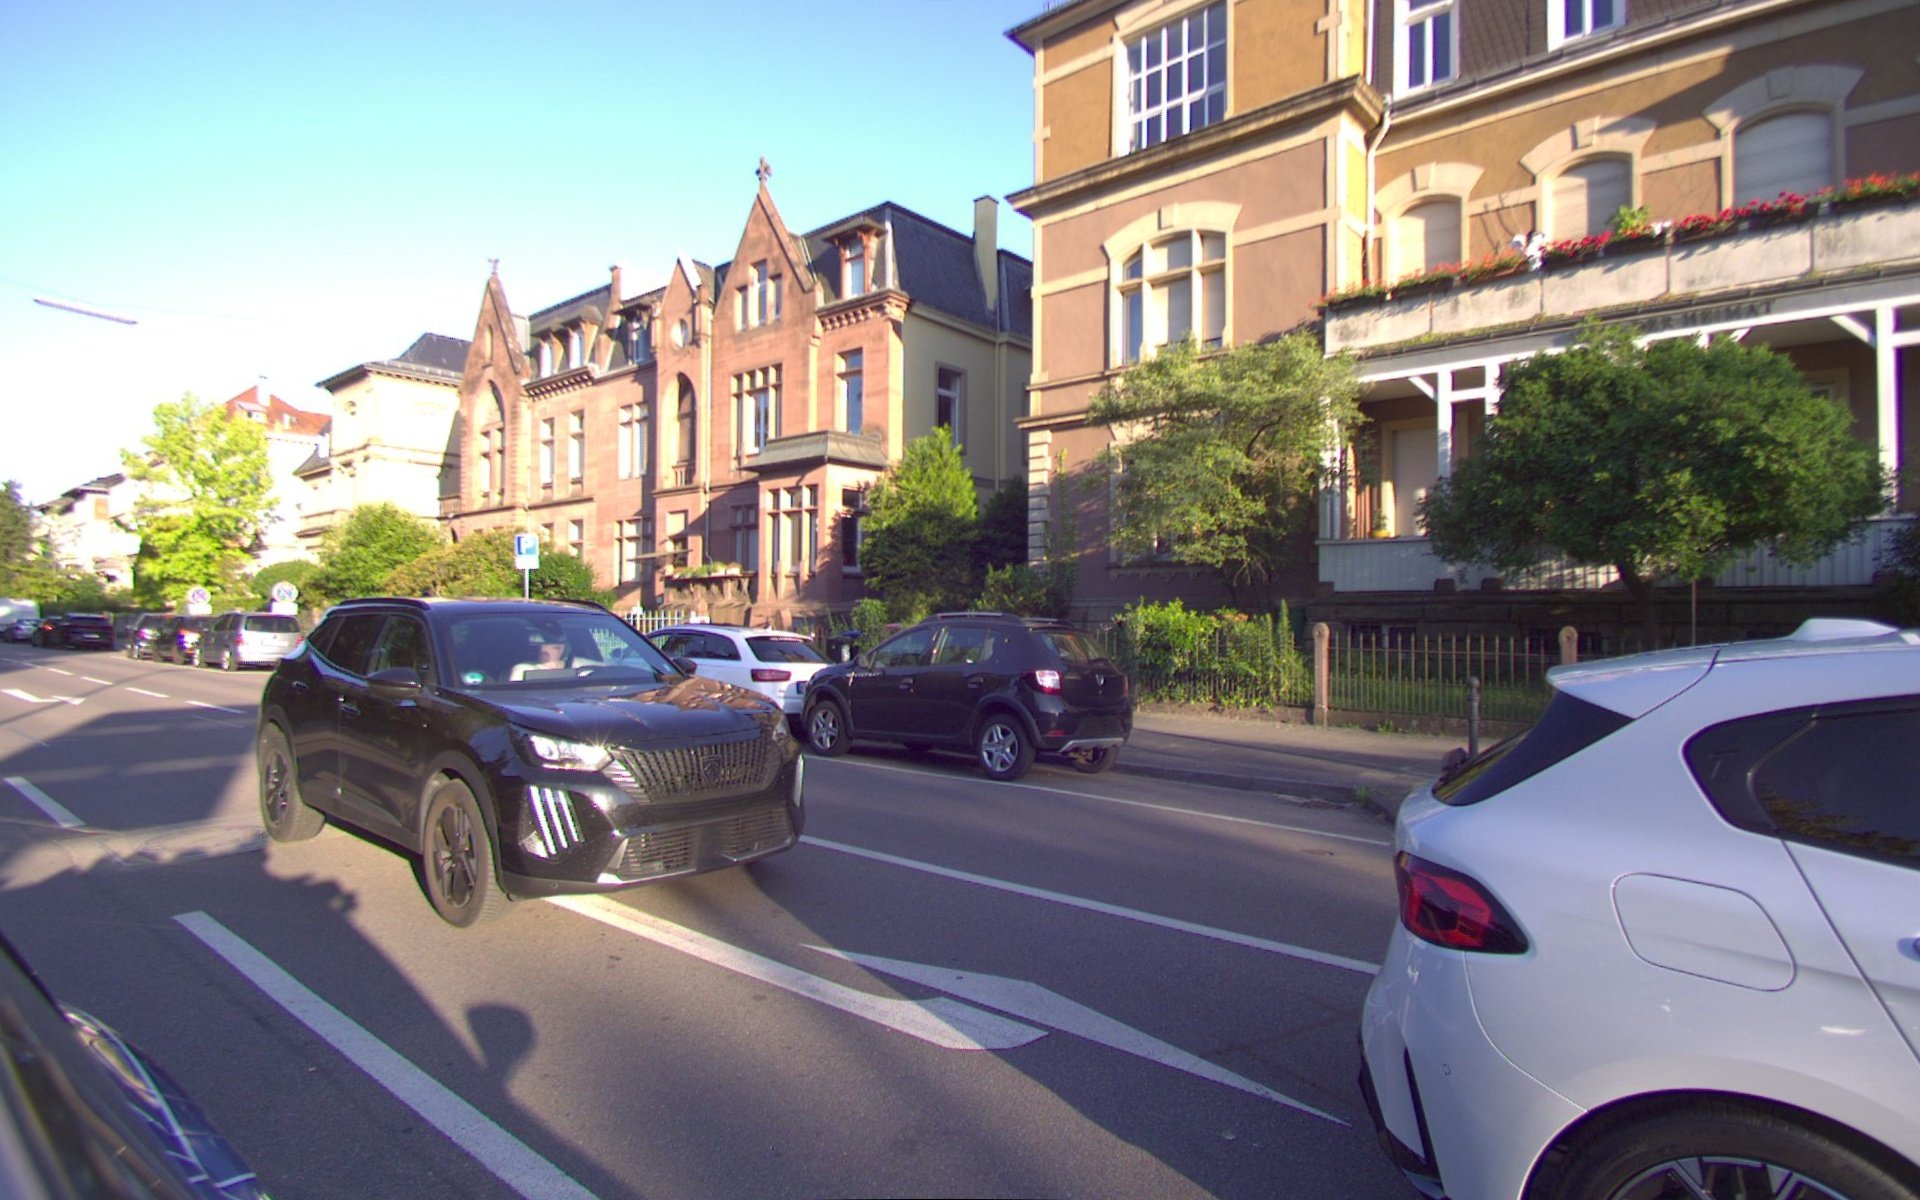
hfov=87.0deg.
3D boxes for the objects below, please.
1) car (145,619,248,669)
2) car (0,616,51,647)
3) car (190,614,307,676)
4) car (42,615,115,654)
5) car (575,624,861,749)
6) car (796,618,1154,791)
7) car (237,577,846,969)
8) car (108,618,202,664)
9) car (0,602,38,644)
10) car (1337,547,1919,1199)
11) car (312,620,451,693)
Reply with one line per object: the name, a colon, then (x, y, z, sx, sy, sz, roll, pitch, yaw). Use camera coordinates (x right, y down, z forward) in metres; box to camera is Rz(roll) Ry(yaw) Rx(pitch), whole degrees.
car: (-23.758, 1.332, 31.457, 3.719, 1.461, 1.694, -1, -3, 39)
car: (-51.135, 1.699, 55.278, 3.852, 1.617, 1.693, -1, -3, 41)
car: (-19.866, 1.229, 28.228, 3.749, 1.601, 1.694, -1, -3, 39)
car: (-38.109, 1.478, 43.711, 3.721, 1.617, 1.856, -1, -3, 41)
car: (-3.448, 1.090, 13.891, 4.432, 1.454, 1.587, -1, -5, 43)
car: (0.053, 1.015, 10.927, 3.722, 1.546, 1.610, -1, -5, 43)
car: (-2.649, 0.729, 5.946, 3.997, 1.547, 1.661, -1, -2, 40)
car: (-27.325, 1.370, 34.318, 3.719, 1.461, 1.694, -1, -3, 39)
car: (-56.412, 1.383, 59.672, 5.874, 2.387, 2.203, -1, -3, 40)
car: (2.892, 0.662, 1.300, 4.185, 1.477, 1.734, -1, -2, 40)
car: (-12.653, 1.188, 22.080, 3.566, 1.456, 1.610, -1, -3, 43)
